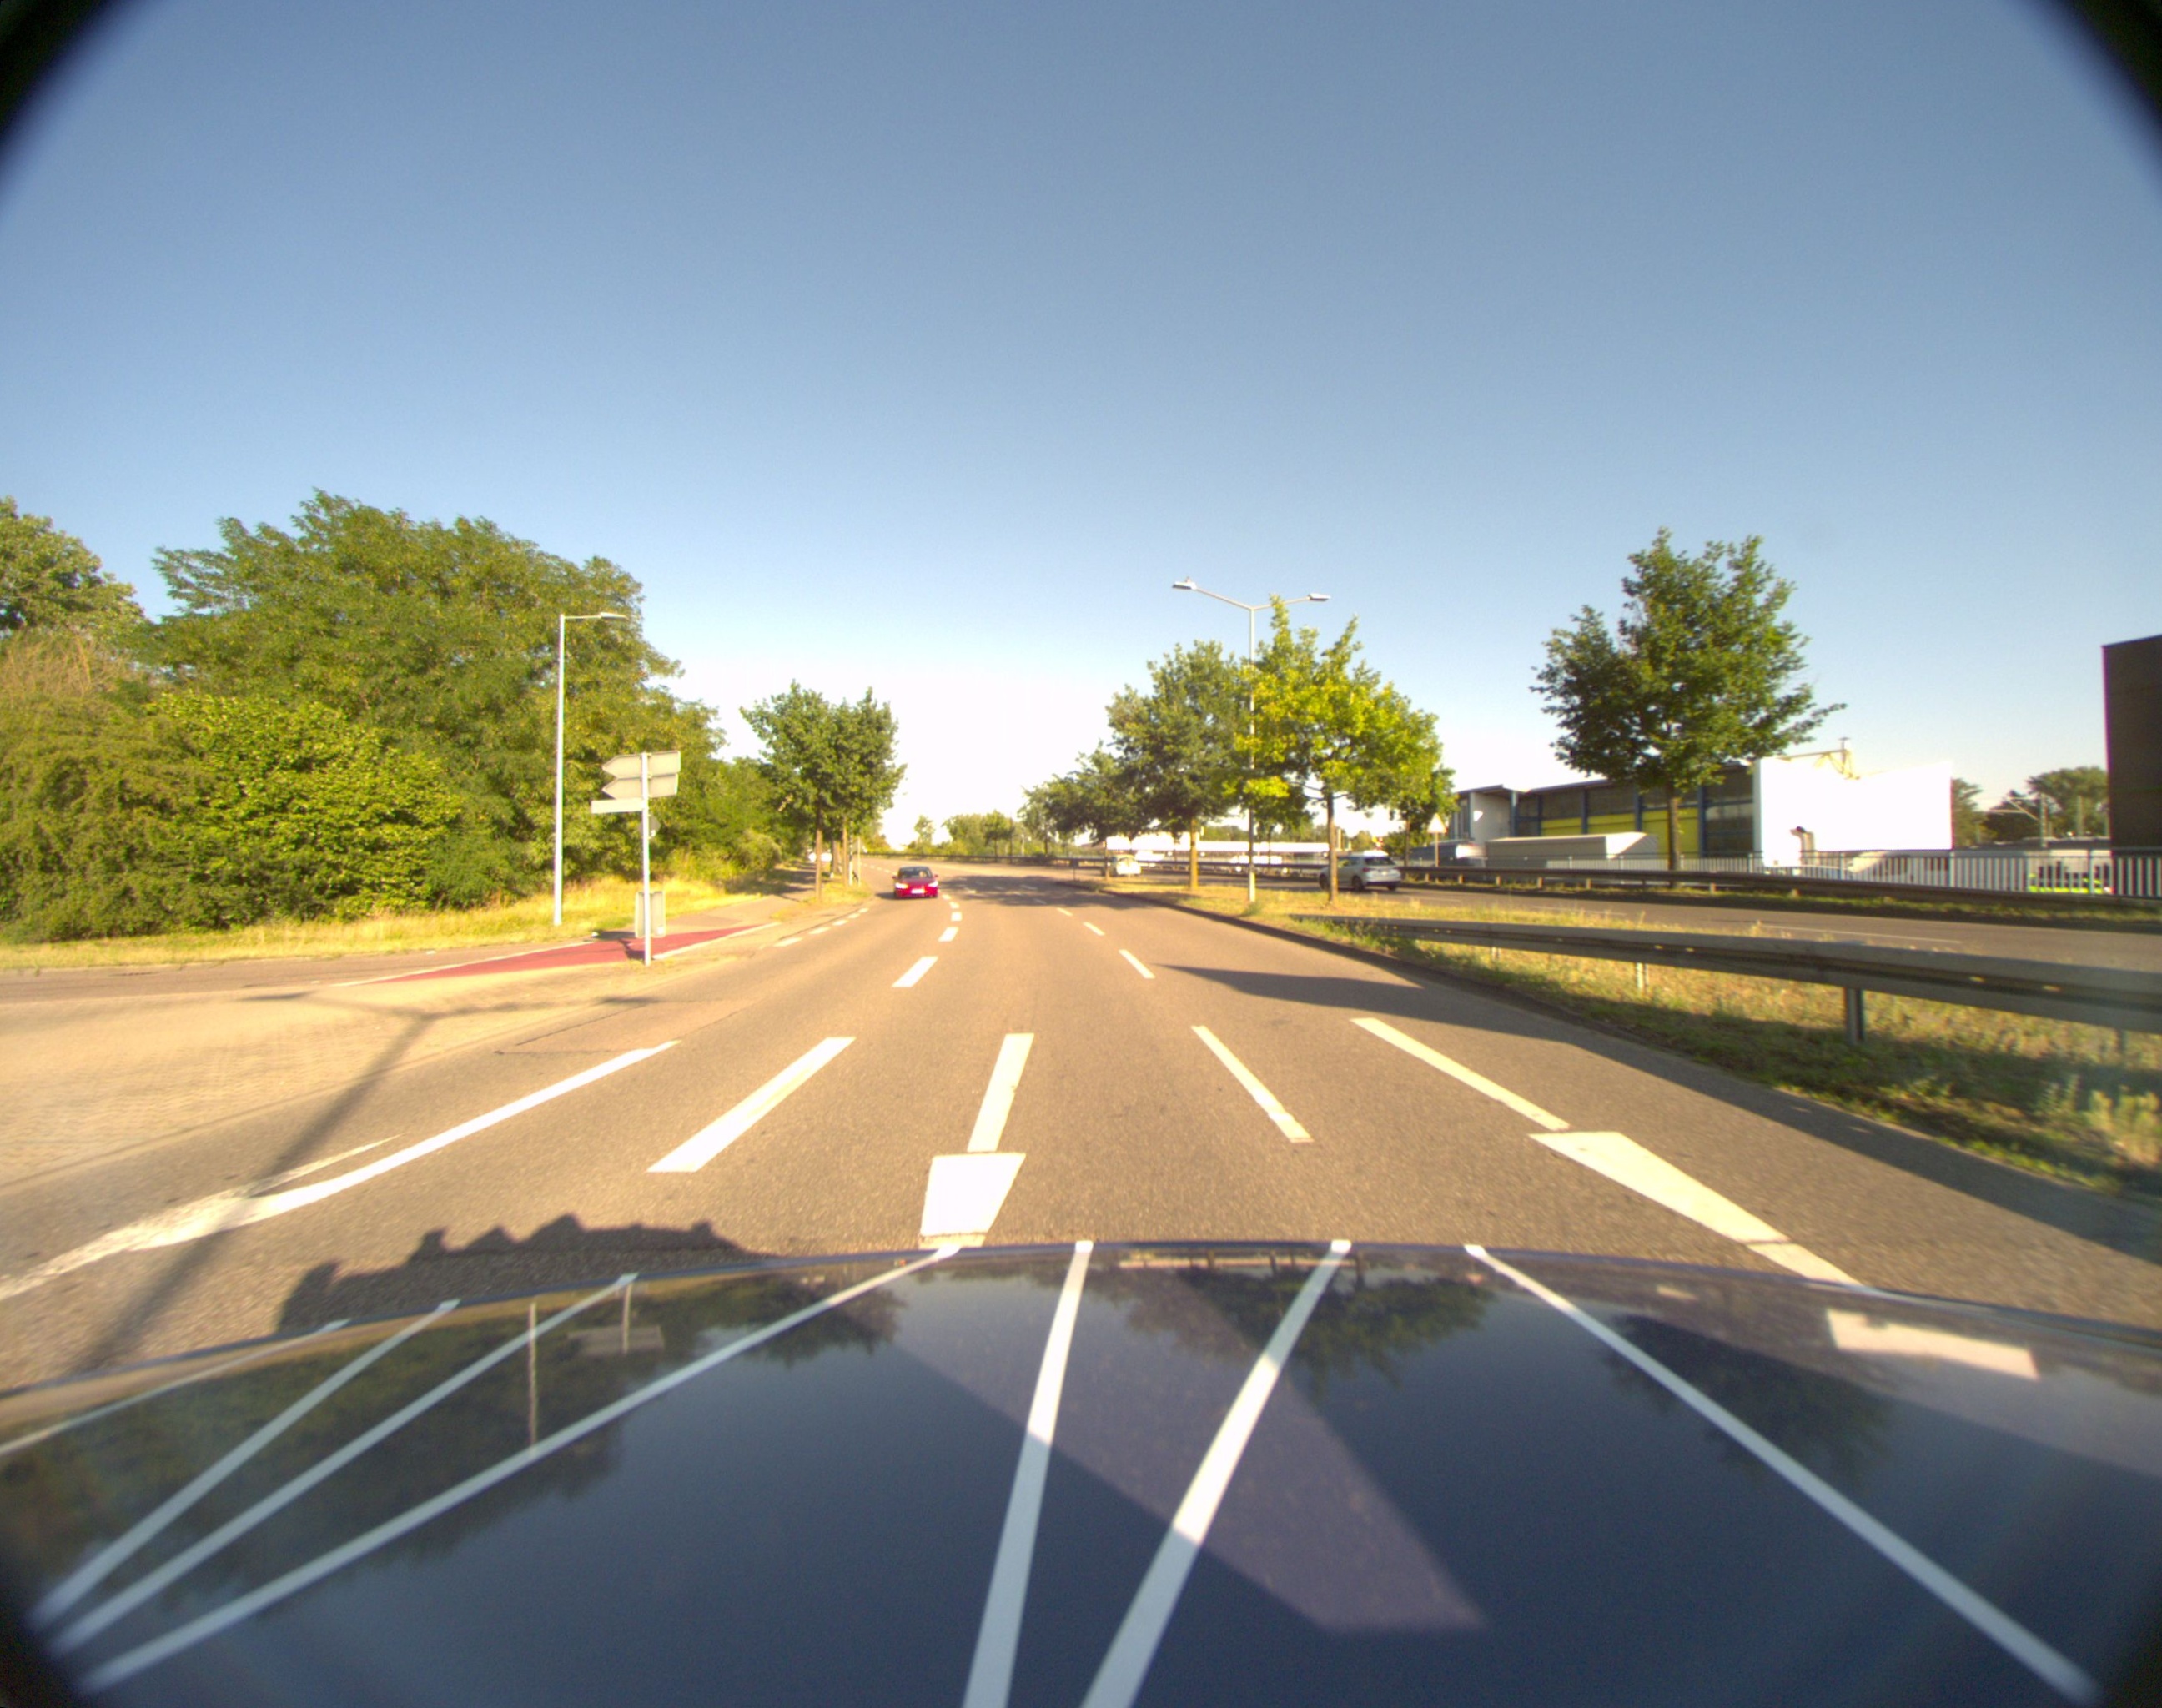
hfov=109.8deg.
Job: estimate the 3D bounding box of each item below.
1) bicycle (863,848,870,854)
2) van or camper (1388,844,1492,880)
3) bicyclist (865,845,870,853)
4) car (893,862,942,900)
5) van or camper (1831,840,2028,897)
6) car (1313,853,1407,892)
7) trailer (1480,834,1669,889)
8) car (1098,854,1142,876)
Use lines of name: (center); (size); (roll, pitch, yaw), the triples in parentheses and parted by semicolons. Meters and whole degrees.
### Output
bicycle: (-39.968, -0.640, 141.705); (0.585, 1.070, 2.307); (2, 0, -30)
van or camper: (17.733, 0.366, 37.839); (2.001, 1.676, 4.954); (-1, 0, -13)
bicyclist: (-39.727, -0.971, 141.315); (0.602, 1.450, 0.826); (2, 1, -30)
car: (-7.562, 1.190, 34.859); (1.784, 1.434, 4.352); (-1, 2, -18)
van or camper: (30.101, 0.453, 27.162); (4.219, 1.915, 2.003); (1, 2, 21)
car: (11.328, 0.703, 31.145); (1.678, 1.454, 4.100); (-1, 1, -12)
trailer: (19.539, 0.240, 30.655); (2.428, 1.958, 6.598); (-1, 0, -12)
car: (2.675, 0.733, 52.547); (1.747, 1.454, 3.759); (-2, 0, -19)
